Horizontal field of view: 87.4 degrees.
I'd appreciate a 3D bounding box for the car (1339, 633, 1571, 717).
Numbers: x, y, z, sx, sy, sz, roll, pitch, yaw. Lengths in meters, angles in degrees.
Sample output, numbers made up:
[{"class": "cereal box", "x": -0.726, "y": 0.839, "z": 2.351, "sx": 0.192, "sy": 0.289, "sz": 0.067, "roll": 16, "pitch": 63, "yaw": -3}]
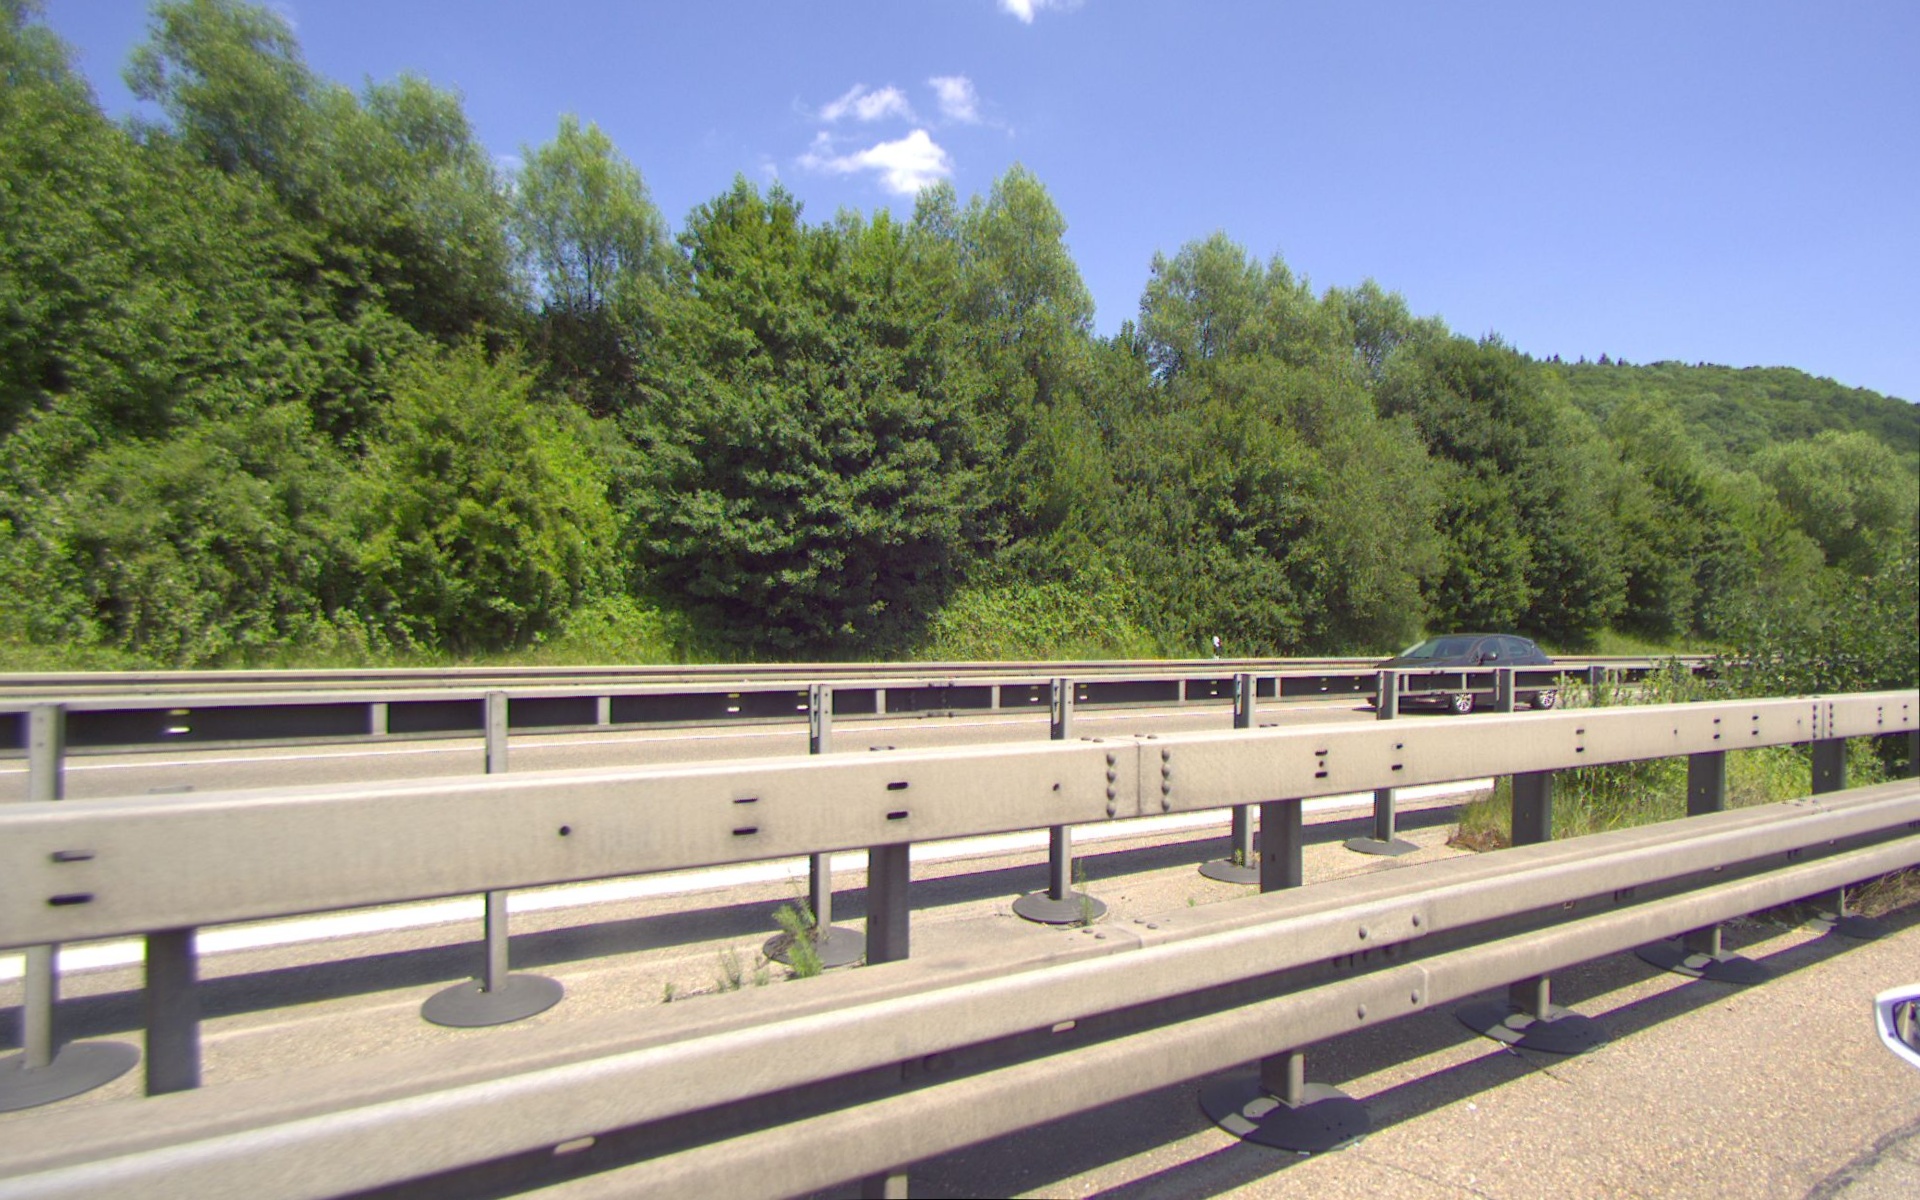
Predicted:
[{"class": "car", "x": 9.452, "y": 1.364, "z": 19.104, "sx": 4.381, "sy": 1.439, "sz": 1.861, "roll": 1, "pitch": -2, "yaw": -30}]
